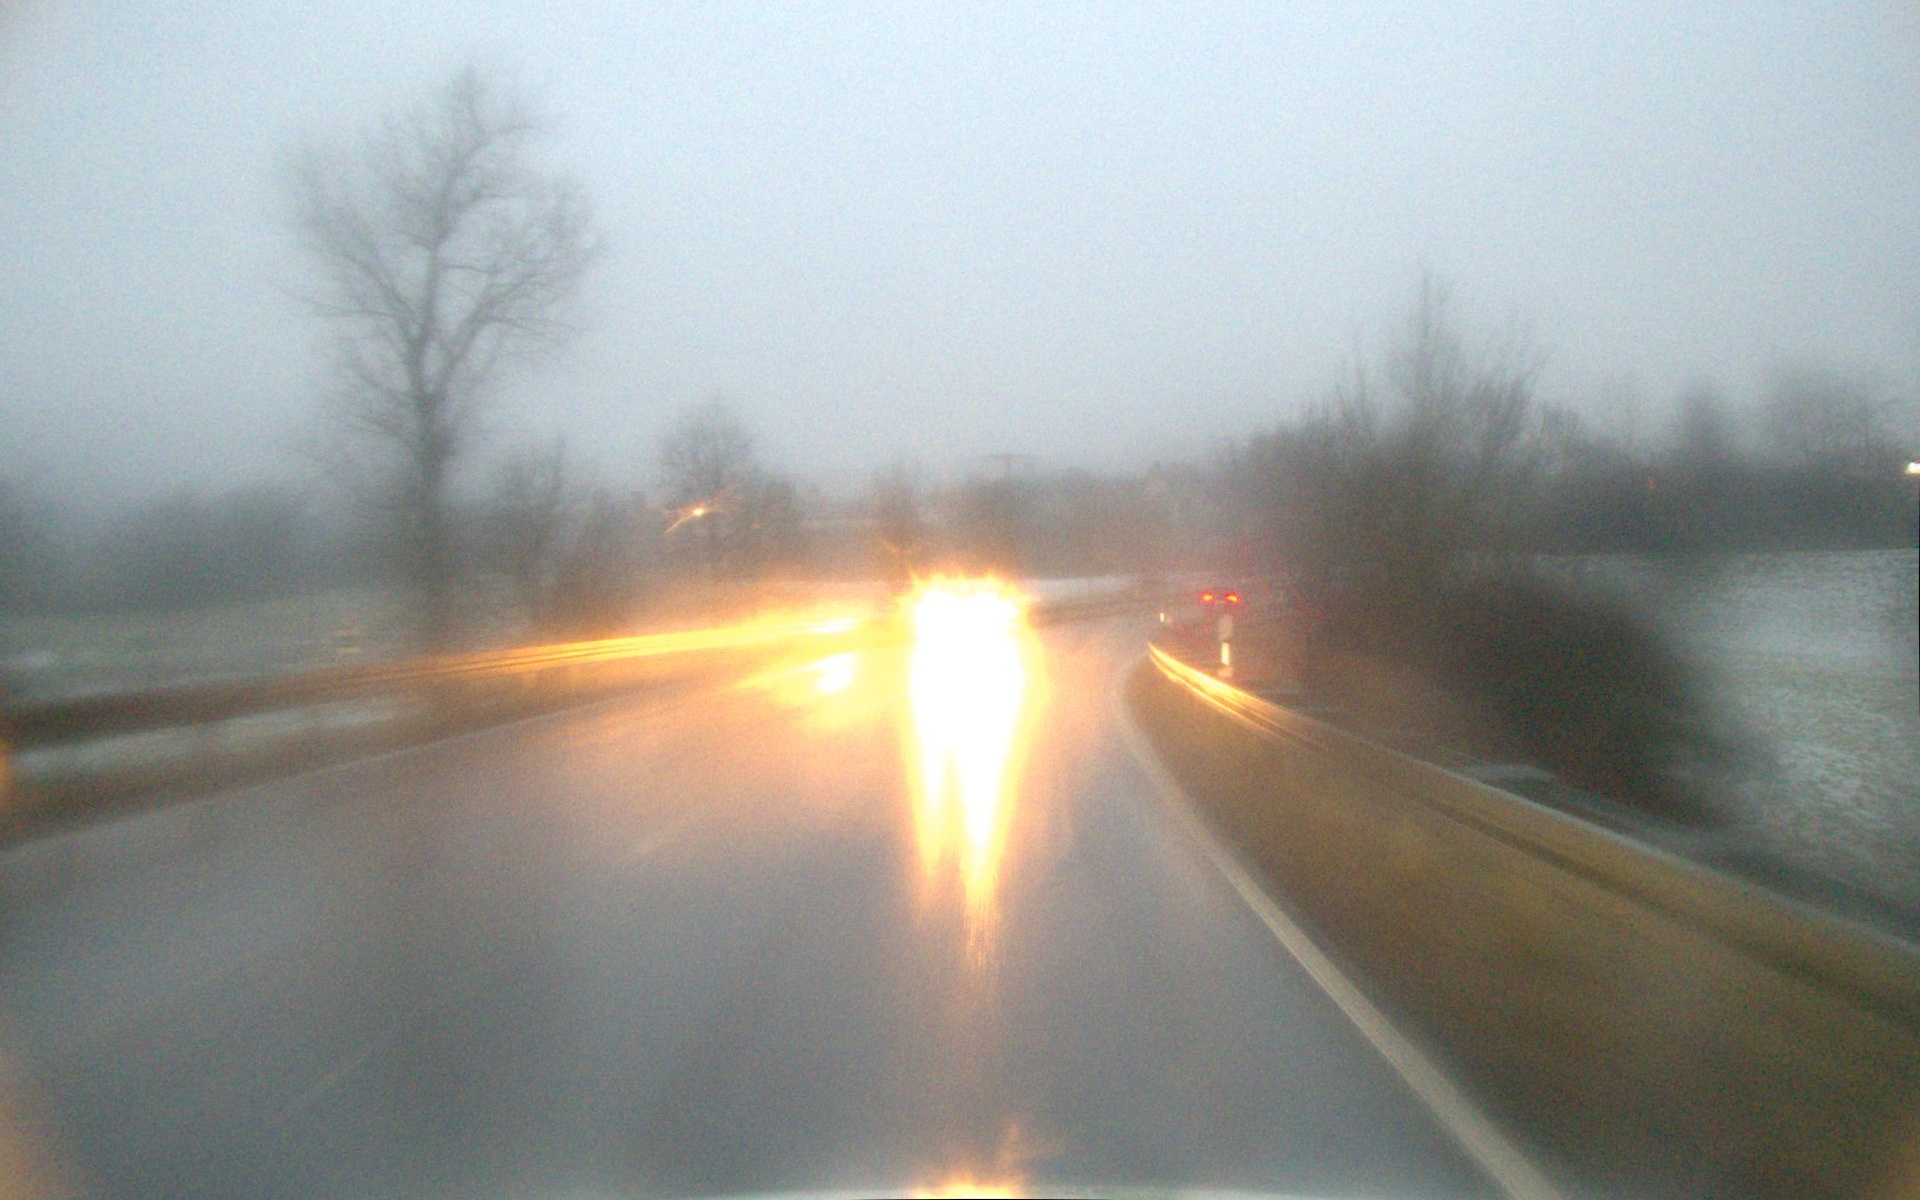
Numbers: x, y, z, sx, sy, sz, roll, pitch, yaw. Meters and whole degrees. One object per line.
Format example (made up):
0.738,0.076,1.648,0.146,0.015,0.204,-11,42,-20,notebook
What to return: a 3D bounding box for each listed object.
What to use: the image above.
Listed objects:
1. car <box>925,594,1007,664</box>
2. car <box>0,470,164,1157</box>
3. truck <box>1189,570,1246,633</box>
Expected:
0.230,0.795,48.290,1.843,1.896,5.010,0,1,6,car
-3.317,0.539,2.378,1.969,1.663,4.873,0,1,0,car
13.063,0.027,83.662,2.478,2.919,5.928,-1,1,12,truck
